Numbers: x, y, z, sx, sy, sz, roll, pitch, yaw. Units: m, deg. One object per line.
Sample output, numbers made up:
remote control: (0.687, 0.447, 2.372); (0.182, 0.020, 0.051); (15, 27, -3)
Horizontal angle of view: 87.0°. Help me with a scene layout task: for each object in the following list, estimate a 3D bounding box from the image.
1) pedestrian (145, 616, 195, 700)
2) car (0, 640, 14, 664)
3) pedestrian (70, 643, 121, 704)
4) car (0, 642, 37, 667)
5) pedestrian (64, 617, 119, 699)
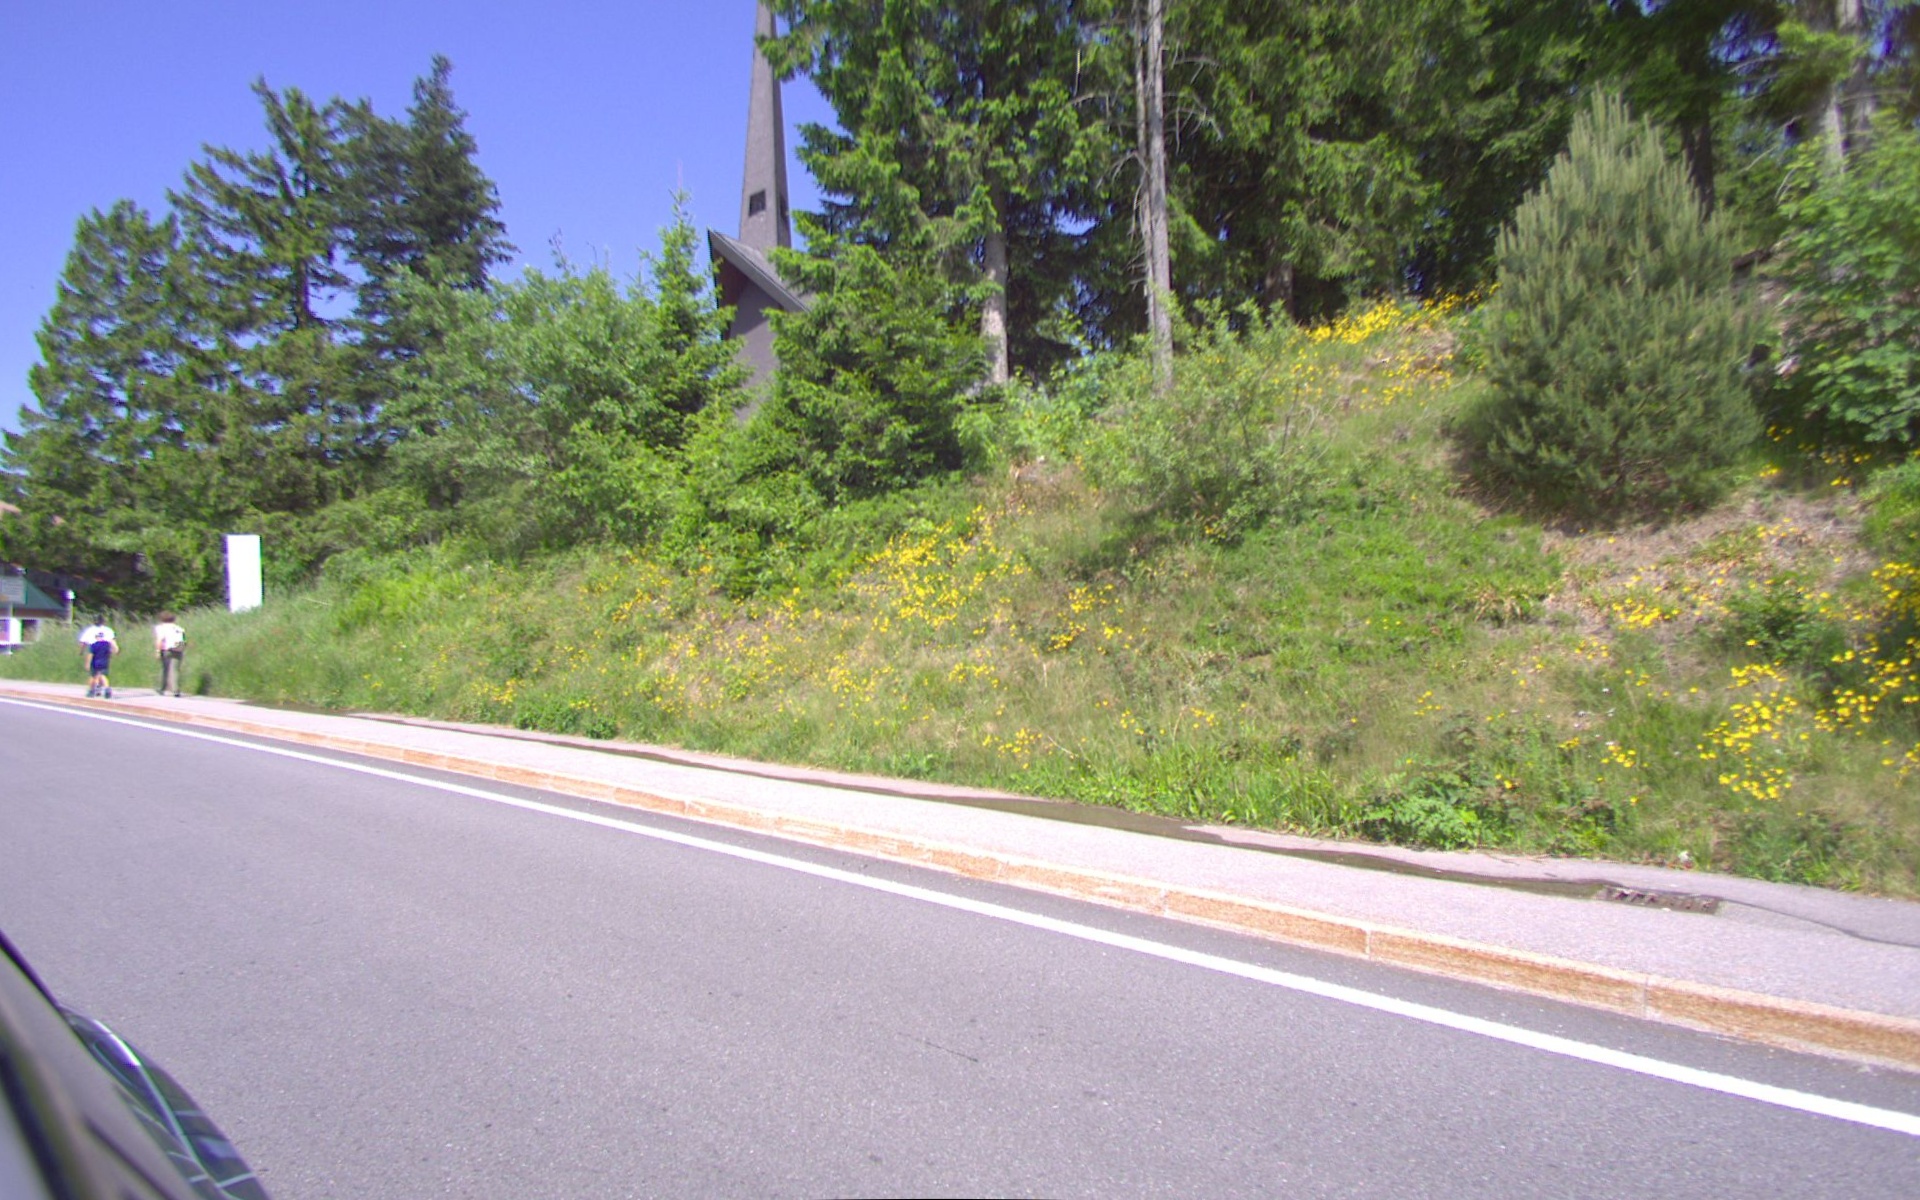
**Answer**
pedestrian: (-15.953, 1.160, 20.441); (0.893, 1.655, 0.570); (-2, -3, 38)
car: (-57.539, 3.050, 59.490); (1.689, 1.445, 3.326); (1, -3, -21)
pedestrian: (-16.041, 1.352, 18.774); (0.744, 1.110, 0.563); (-2, -3, 38)
car: (-55.301, 3.183, 58.522); (1.683, 1.406, 3.326); (1, -4, -21)
pedestrian: (-16.819, 1.114, 19.602); (0.878, 1.549, 0.575); (-2, -3, 35)
